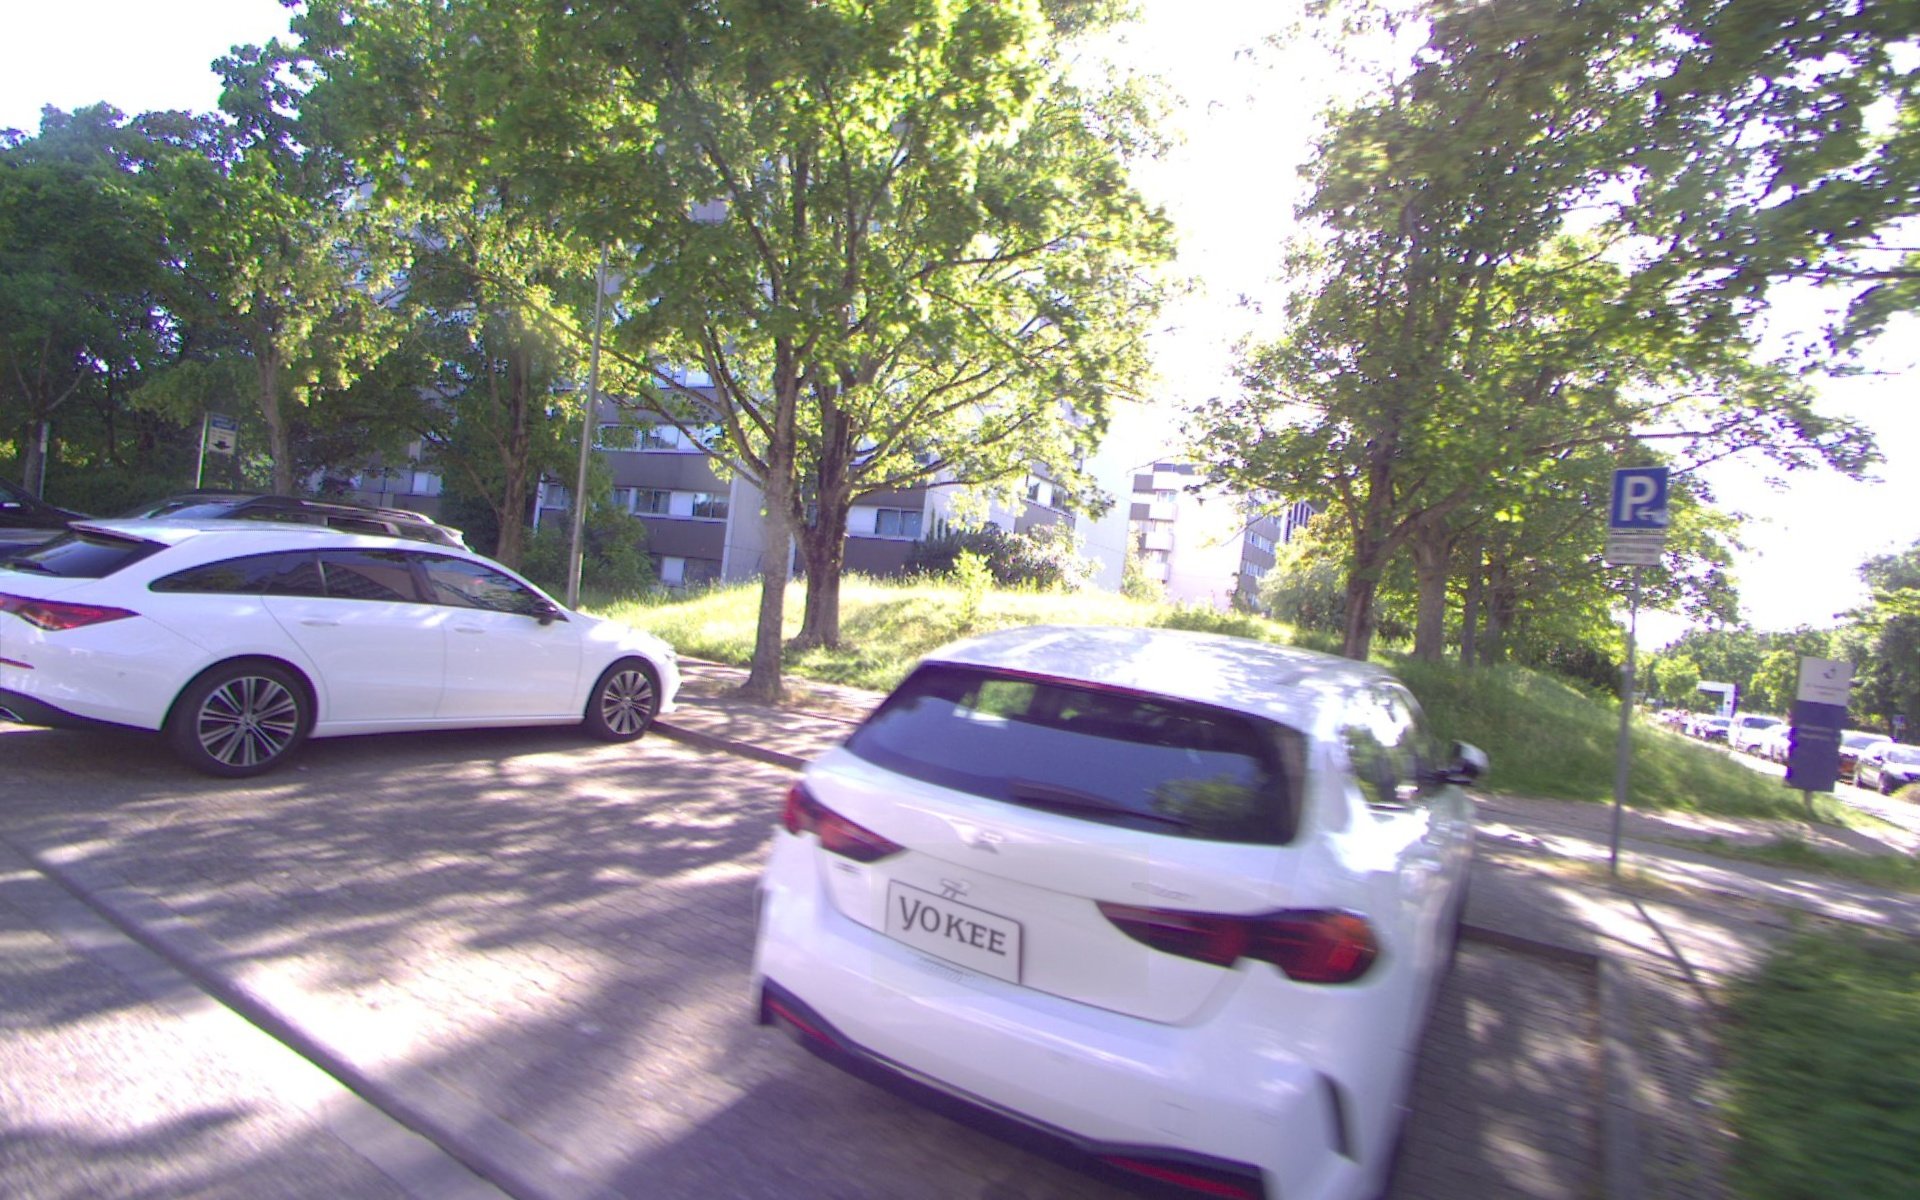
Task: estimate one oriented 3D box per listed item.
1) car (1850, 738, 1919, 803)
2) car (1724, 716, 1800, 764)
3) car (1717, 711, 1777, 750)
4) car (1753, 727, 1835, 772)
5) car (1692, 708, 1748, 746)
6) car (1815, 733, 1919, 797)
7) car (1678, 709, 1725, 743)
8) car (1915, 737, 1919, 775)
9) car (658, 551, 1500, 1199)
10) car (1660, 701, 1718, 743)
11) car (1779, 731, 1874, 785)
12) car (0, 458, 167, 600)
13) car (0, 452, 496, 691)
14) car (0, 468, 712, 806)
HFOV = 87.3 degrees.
[{"bbox_3d":[26.428,4.772,27.819,1.804,1.519,4.014,7,-2,30],"label":"car"},{"bbox_3d":[37.718,6.552,47.429,1.966,1.820,4.445,7,-2,30],"label":"car"},{"bbox_3d":[40.383,6.686,51.693,1.735,1.633,3.995,7,-2,30],"label":"car"},{"bbox_3d":[35.245,6.284,42.618,1.889,1.463,3.995,7,-2,31],"label":"car"},{"bbox_3d":[45.824,7.638,60.710,1.966,1.921,3.996,7,-1,29],"label":"car"},{"bbox_3d":[29.339,5.266,32.469,1.804,1.561,4.014,7,-2,30],"label":"car"},{"bbox_3d":[50.650,8.583,68.784,1.966,1.969,3.995,7,-1,30],"label":"car"},{"bbox_3d":[51.597,8.240,52.088,1.966,2.206,3.996,7,-1,30],"label":"car"},{"bbox_3d":[1.111,0.852,4.177,1.805,1.613,4.431,7,1,29],"label":"car"},{"bbox_3d":[41.994,7.018,58.061,1.965,2.037,3.997,7,-1,28],"label":"car"},{"bbox_3d":[32.290,5.851,37.613,1.804,1.493,4.014,7,-2,30],"label":"car"},{"bbox_3d":[-13.906,-1.106,13.564,1.967,1.802,4.590,7,1,32],"label":"car"},{"bbox_3d":[-6.489,-0.182,8.787,1.704,1.638,4.123,6,0,30],"label":"car"},{"bbox_3d":[-4.049,0.290,7.043,1.786,1.563,4.452,7,-2,30],"label":"car"}]
